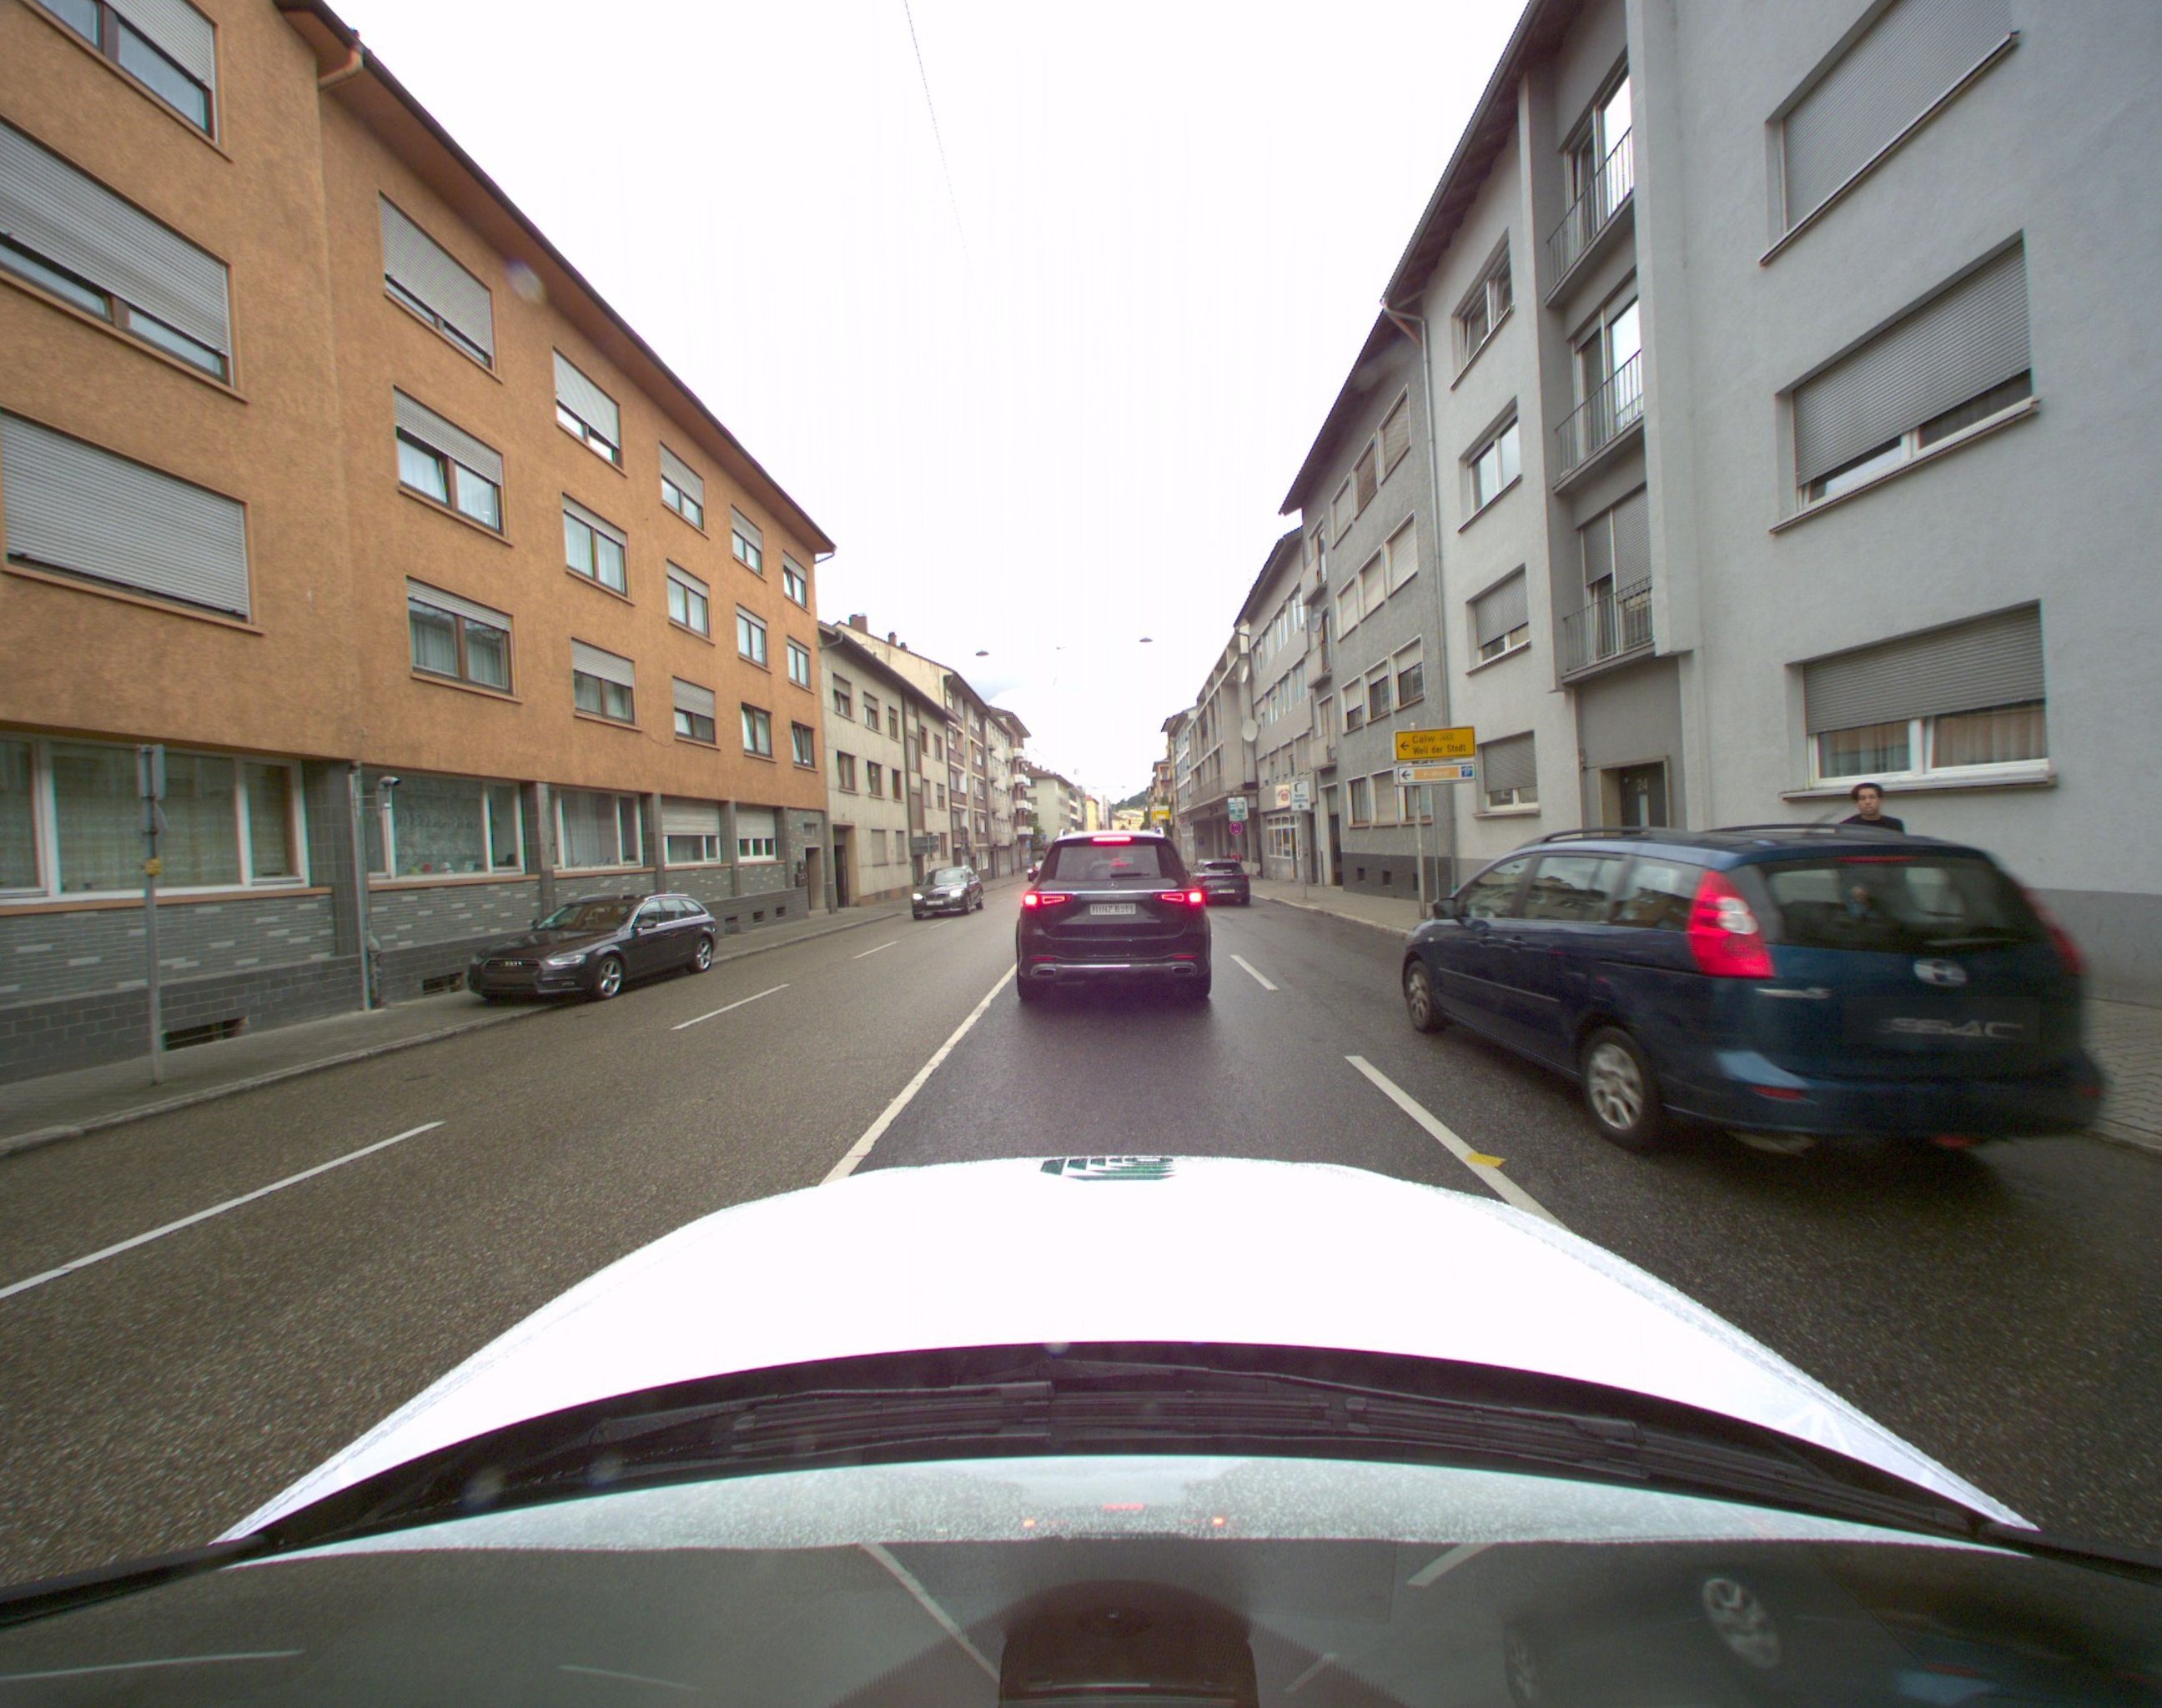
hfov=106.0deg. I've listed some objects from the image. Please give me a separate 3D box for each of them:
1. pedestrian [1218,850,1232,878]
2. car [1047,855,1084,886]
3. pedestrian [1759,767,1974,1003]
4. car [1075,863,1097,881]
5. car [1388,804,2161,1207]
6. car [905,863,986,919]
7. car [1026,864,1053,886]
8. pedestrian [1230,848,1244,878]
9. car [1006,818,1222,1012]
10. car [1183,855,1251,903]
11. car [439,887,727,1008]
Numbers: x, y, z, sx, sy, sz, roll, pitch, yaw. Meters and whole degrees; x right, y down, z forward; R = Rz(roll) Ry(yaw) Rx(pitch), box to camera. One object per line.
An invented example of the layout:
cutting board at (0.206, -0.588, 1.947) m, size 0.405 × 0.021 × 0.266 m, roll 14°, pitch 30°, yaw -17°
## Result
pedestrian at (7.923, 0.535, 44.767) m, size 0.505 × 1.500 × 0.562 m, roll -5°, pitch 0°, yaw 0°
car at (-0.953, 1.019, 52.017) m, size 1.828 × 1.727 × 4.479 m, roll -5°, pitch 0°, yaw 4°
pedestrian at (6.531, 0.238, 6.843) m, size 0.641 × 1.778 × 1.057 m, roll -5°, pitch 0°, yaw 1°
car at (0.545, 1.890, 87.129) m, size 2.119 × 1.721 × 4.819 m, roll -5°, pitch 0°, yaw 1°
car at (3.618, 0.620, 5.395) m, size 1.800 × 1.606 × 4.216 m, roll -1°, pitch 0°, yaw 4°
car at (-4.313, 1.134, 26.517) m, size 1.697 × 1.507 × 4.160 m, roll -5°, pitch 0°, yaw 1°
car at (-3.351, 1.675, 66.472) m, size 1.791 × 1.584 × 4.315 m, roll -5°, pitch 0°, yaw 0°
pedestrian at (8.554, 0.511, 44.743) m, size 0.558 × 1.578 × 0.526 m, roll -5°, pitch 0°, yaw 1°
car at (0.359, 0.572, 9.623) m, size 2.018 × 1.806 × 4.001 m, roll 0°, pitch 0°, yaw 1°
car at (4.343, 0.767, 26.580) m, size 1.615 × 1.430 × 4.313 m, roll 0°, pitch 0°, yaw 1°
car at (-7.663, 1.346, 13.193) m, size 1.789 × 1.438 × 4.528 m, roll 0°, pitch 0°, yaw 1°
